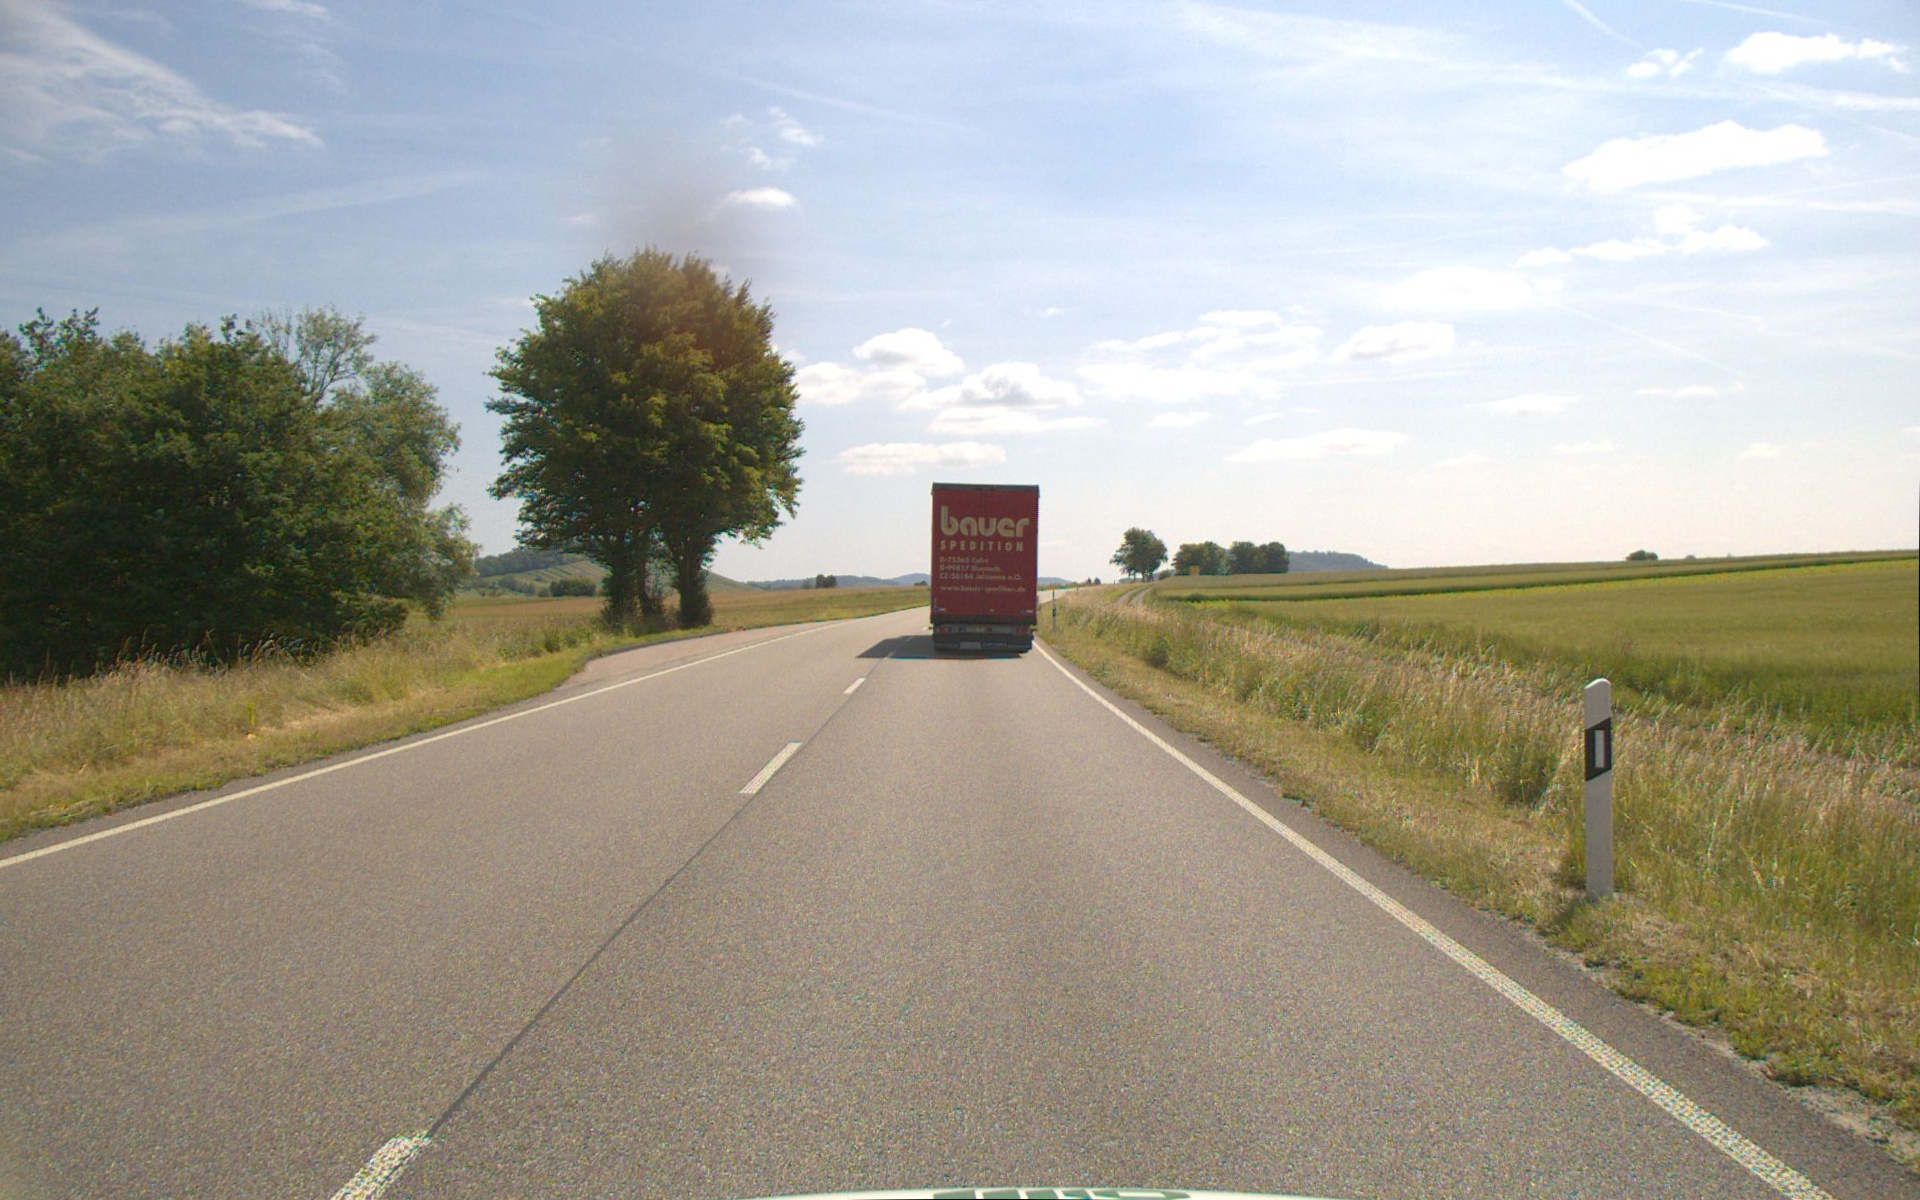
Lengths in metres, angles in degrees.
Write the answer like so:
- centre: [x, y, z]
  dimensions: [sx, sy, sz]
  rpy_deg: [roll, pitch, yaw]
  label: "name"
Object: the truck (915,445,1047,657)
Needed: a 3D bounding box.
- centre: [0.365, -1.112, 42.818]
  dimensions: [2.915, 4.796, 9.362]
  rpy_deg: [1, 0, -2]
  label: "truck"
